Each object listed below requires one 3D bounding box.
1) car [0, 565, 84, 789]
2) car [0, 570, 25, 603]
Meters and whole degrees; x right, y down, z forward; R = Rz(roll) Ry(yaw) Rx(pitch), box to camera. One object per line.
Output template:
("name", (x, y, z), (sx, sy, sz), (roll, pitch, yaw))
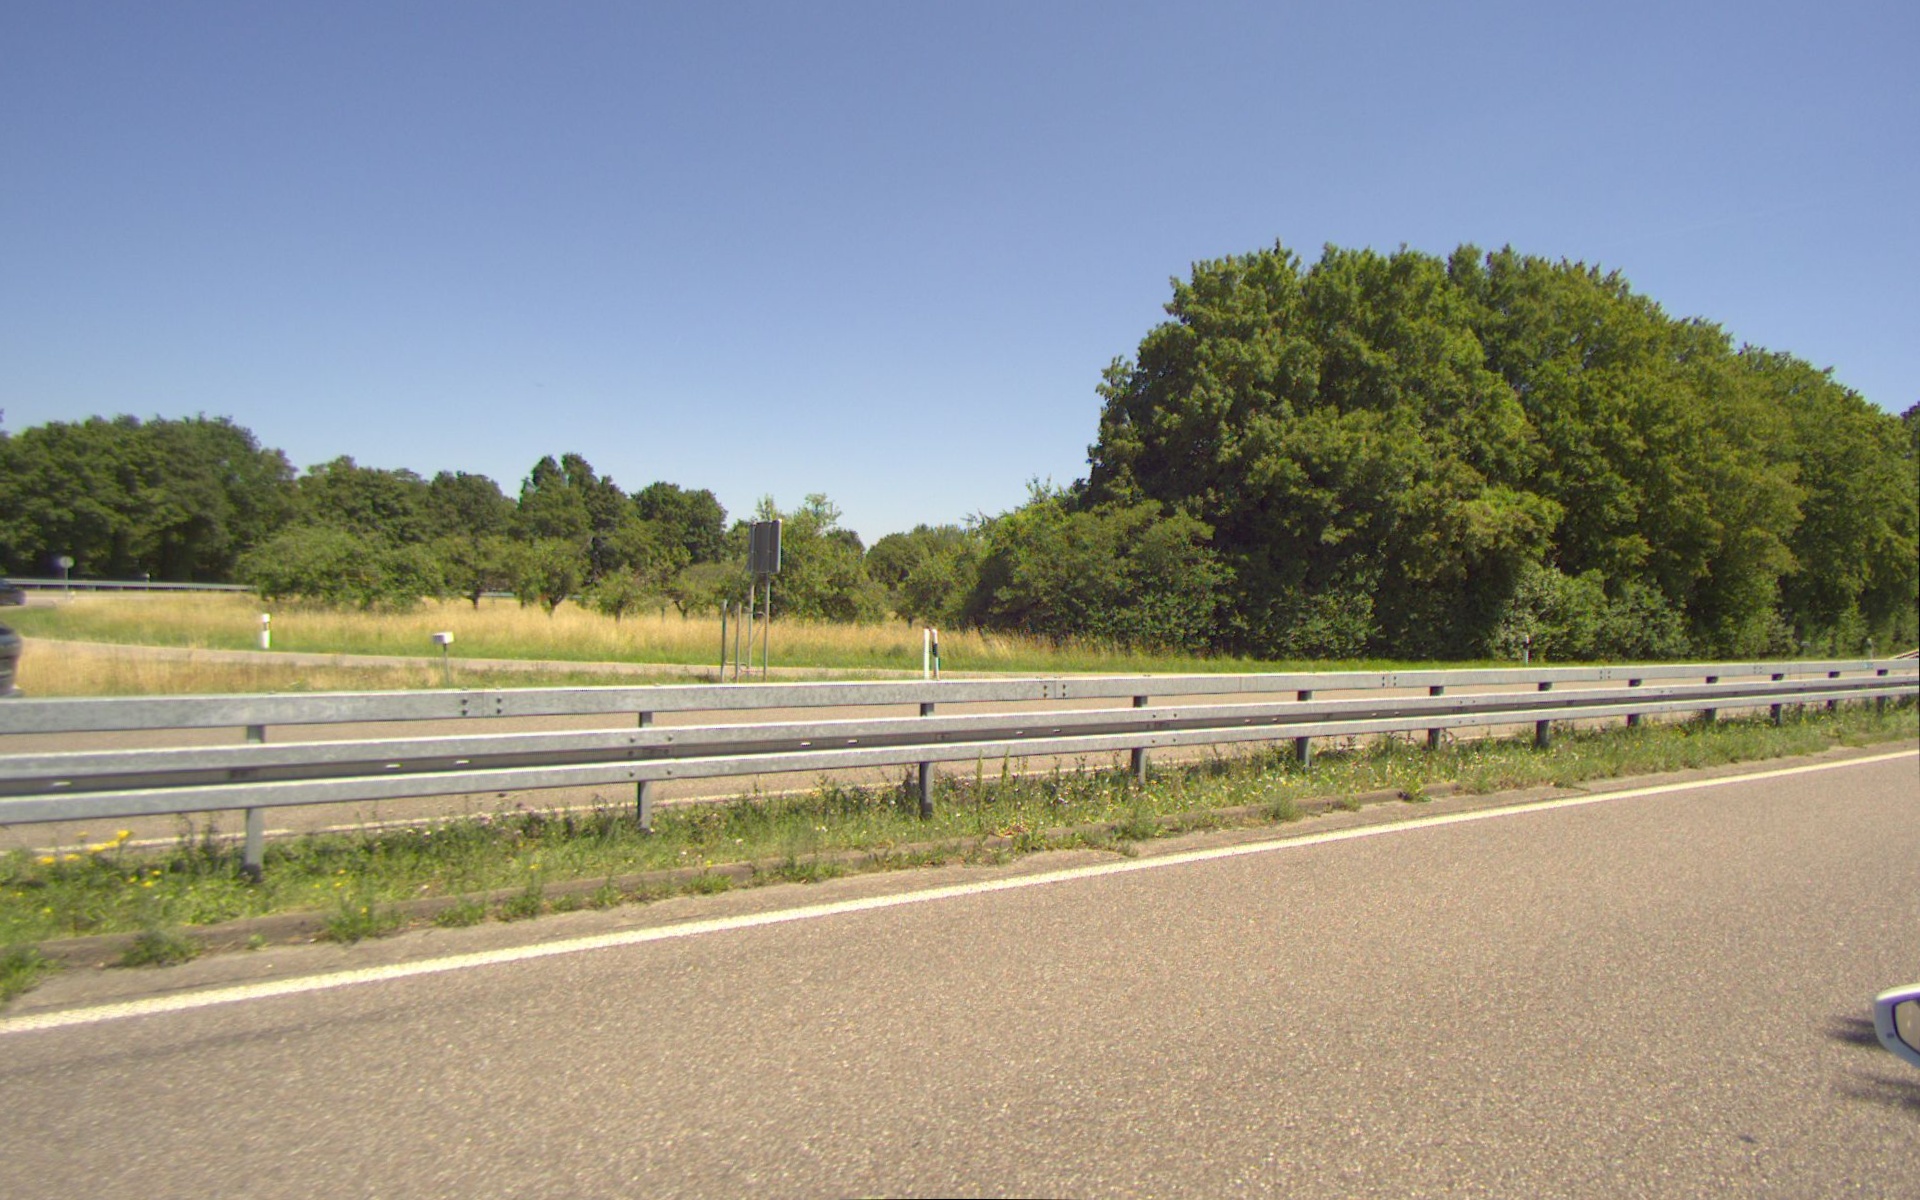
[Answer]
("car", (-9.361, 0.530, 7.064), (4.485, 1.639, 1.816), (1, -1, -29))
("car", (-51.760, -0.750, 53.379), (1.974, 1.719, 3.972), (2, 0, -27))
